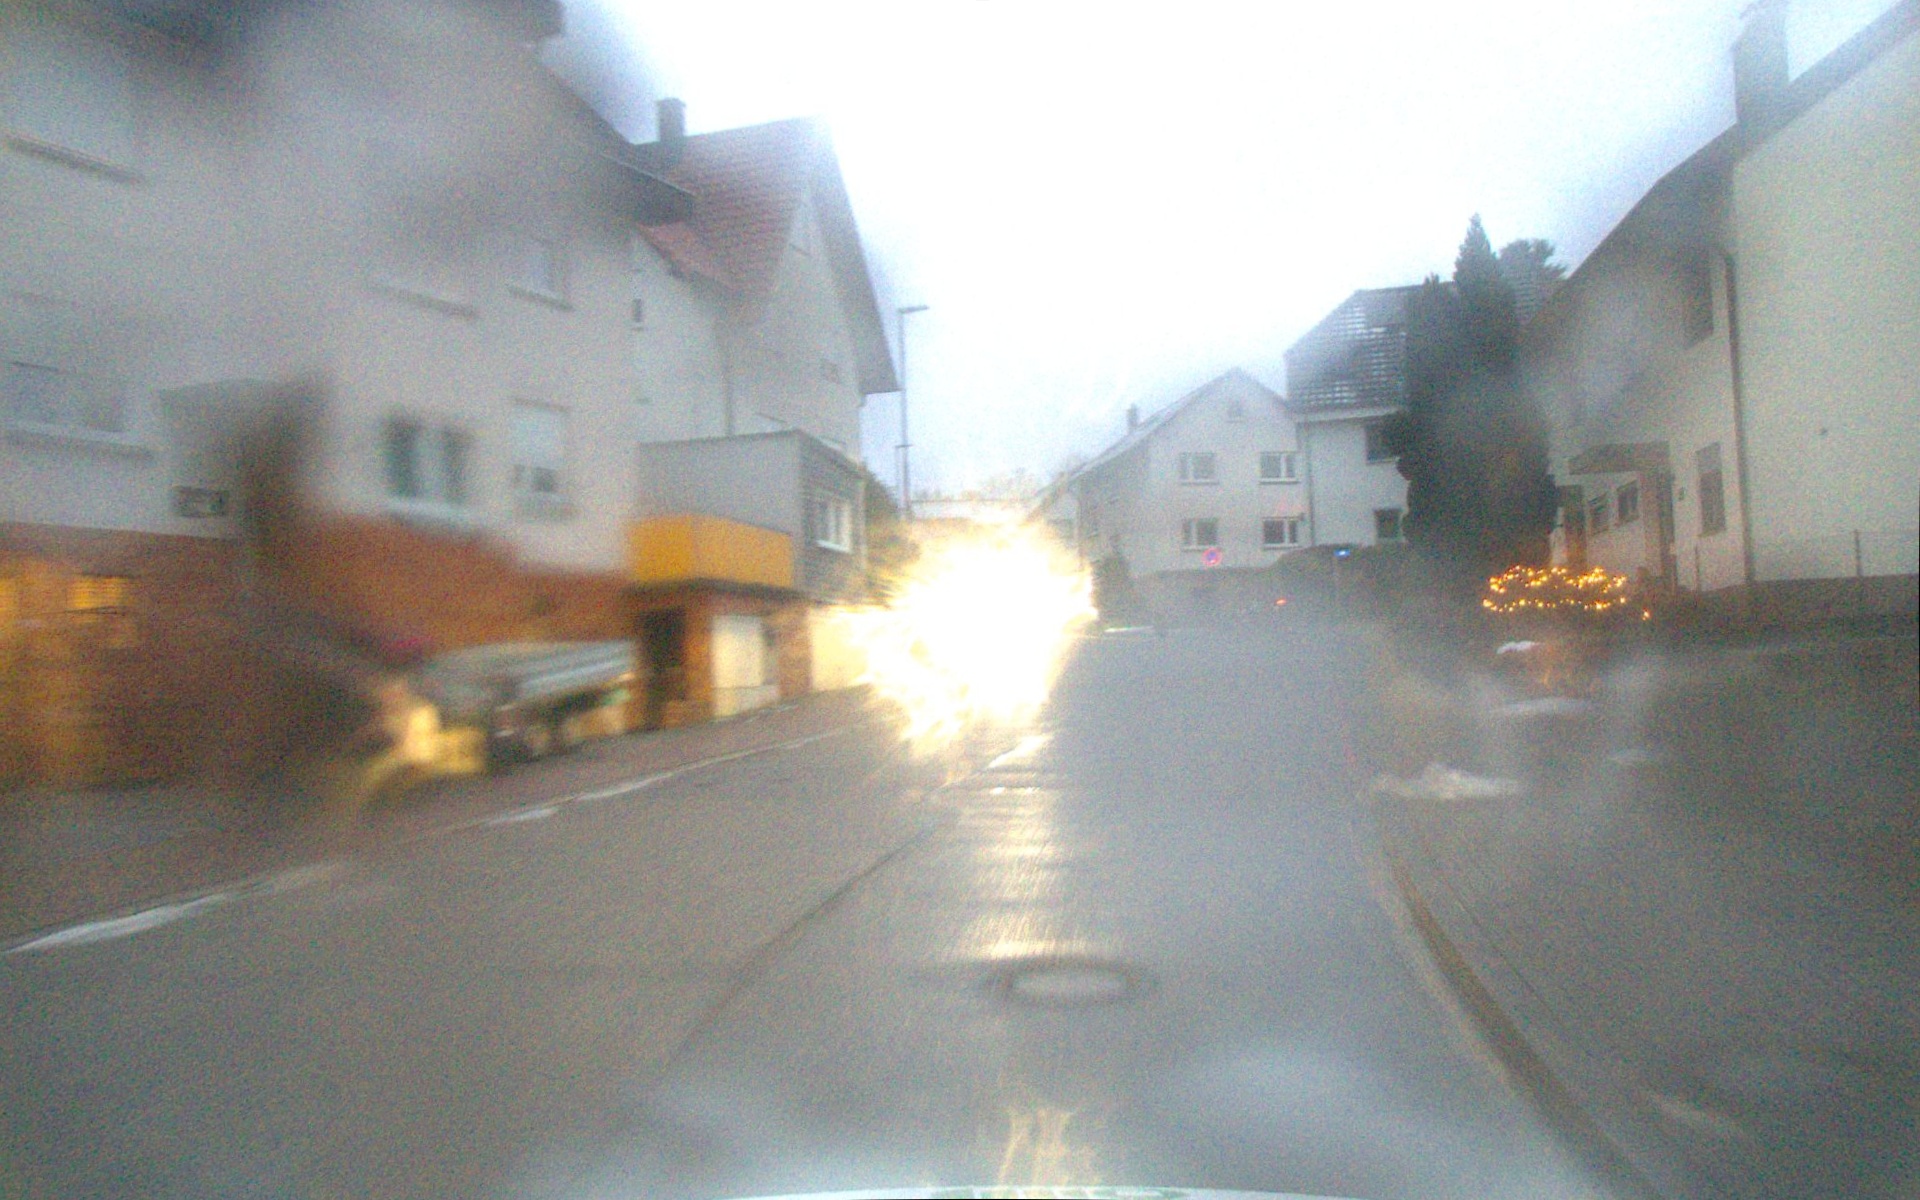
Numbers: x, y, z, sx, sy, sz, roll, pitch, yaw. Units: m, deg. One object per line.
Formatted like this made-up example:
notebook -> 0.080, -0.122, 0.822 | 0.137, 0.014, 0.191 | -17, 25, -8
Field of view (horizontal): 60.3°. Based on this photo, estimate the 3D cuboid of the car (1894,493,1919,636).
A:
car -> 13.403, -0.688, 18.879 | 4.168, 1.676, 2.063 | -8, 0, -1

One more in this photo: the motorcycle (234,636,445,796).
motorcycle -> -5.696, 1.002, 15.107 | 1.049, 1.321, 2.203 | 0, -1, -43

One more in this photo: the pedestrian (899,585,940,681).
pedestrian -> -0.754, 0.626, 31.015 | 0.585, 1.763, 0.812 | -1, -2, 12

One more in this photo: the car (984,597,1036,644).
car -> 2.421, 0.953, 78.912 | 2.066, 2.062, 4.985 | -3, 0, 5

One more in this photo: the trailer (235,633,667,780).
trailer -> -5.109, 1.032, 17.479 | 2.014, 1.189, 4.871 | -2, 0, 16
